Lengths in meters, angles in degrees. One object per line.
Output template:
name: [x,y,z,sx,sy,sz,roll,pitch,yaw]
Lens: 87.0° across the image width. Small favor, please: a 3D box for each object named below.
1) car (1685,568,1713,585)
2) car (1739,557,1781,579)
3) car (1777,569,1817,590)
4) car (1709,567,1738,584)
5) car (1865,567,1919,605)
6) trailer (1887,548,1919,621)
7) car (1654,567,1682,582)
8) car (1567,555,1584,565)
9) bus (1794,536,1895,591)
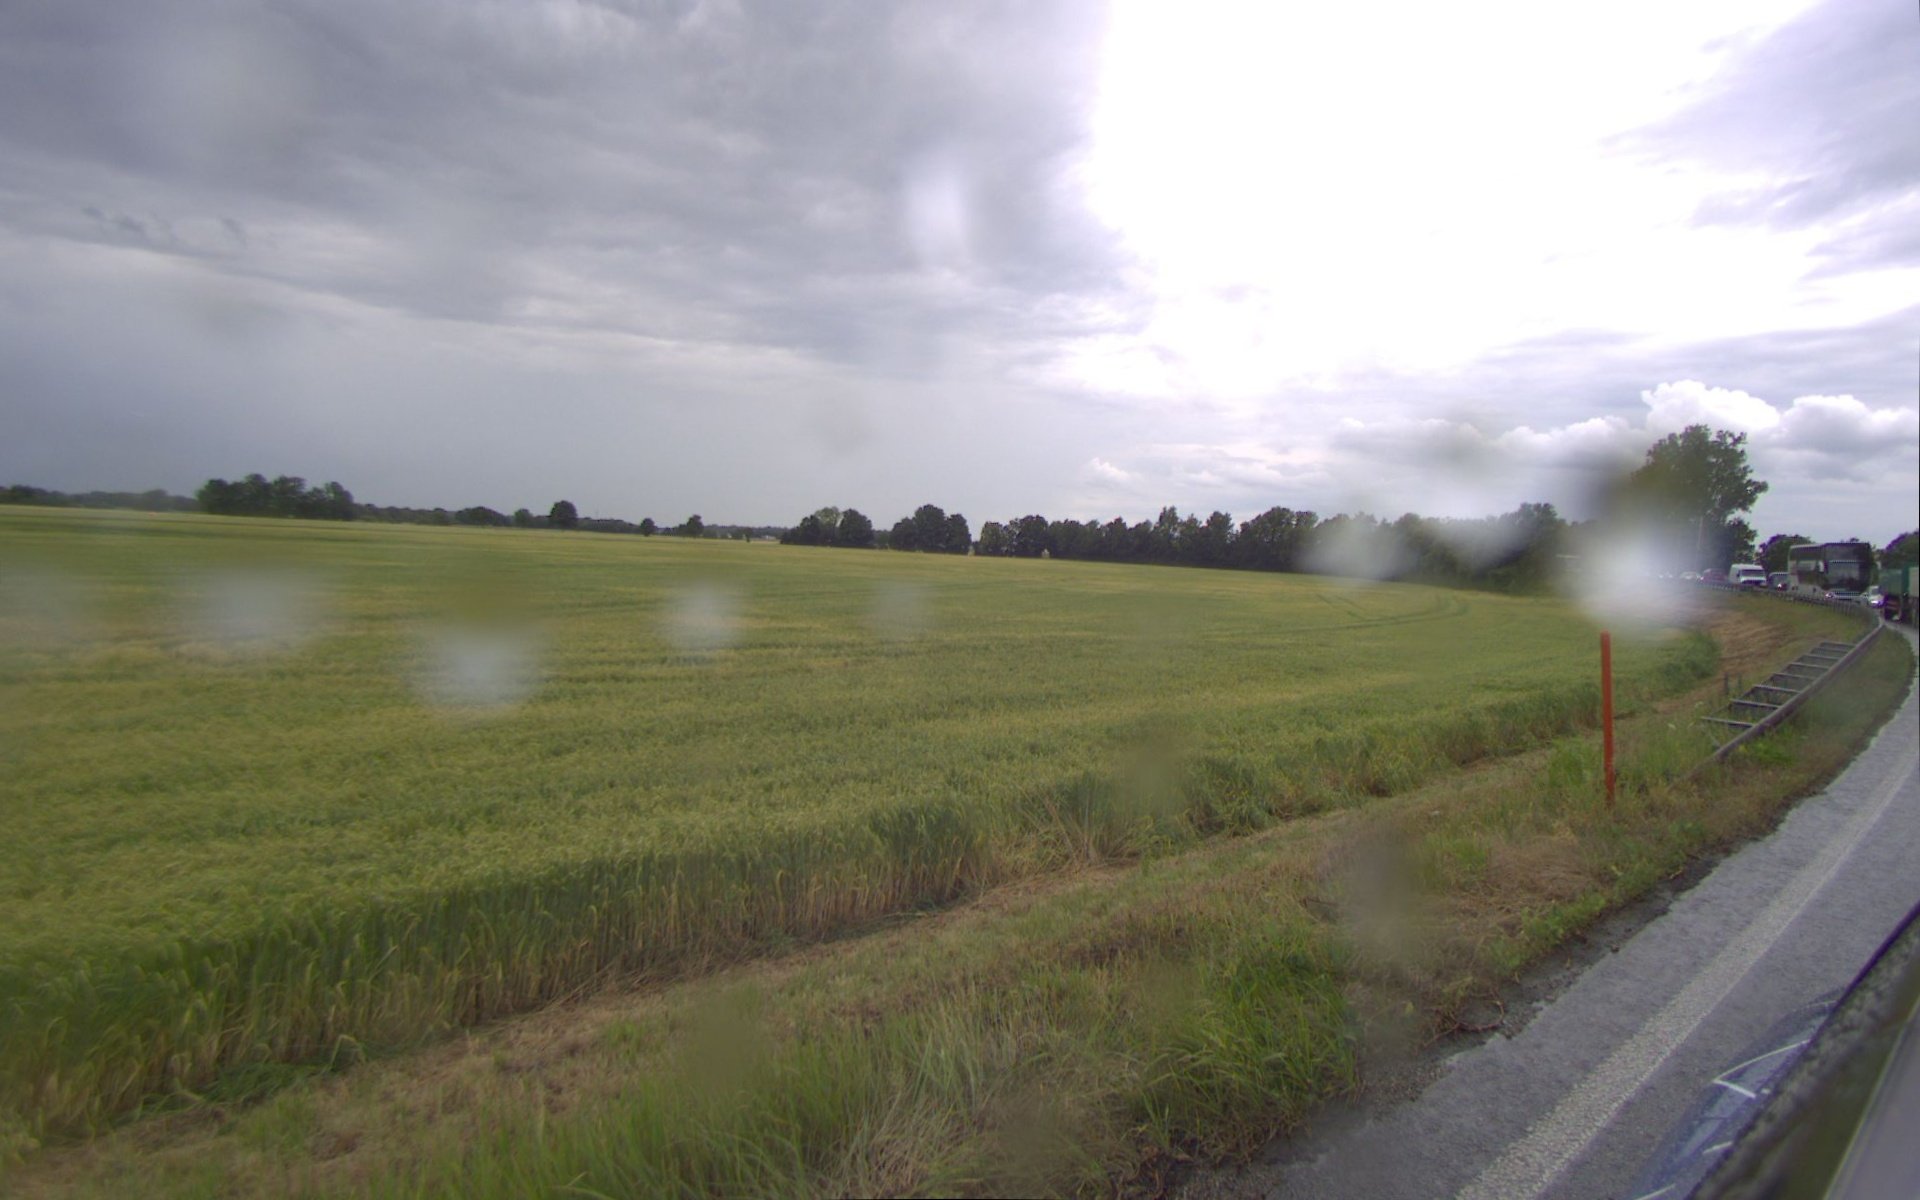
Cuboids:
car: [88.391,-2.787,121.107,1.980,2.038,4.195,0,1,26]
car: [76.069,-3.008,96.300,1.979,2.038,5.291,0,2,25]
car: [67.849,-1.686,82.087,1.800,1.597,3.958,0,2,30]
car: [94.296,-2.986,125.026,1.978,2.038,4.149,0,1,23]
car: [48.849,-0.752,52.536,2.029,1.865,5.271,0,2,34]
trailer: [39.136,-0.666,39.691,2.970,2.665,15.467,1,2,38]
car: [93.431,-3.359,133.637,1.975,2.038,4.239,0,1,20]
car: [115.929,-7.496,190.646,1.760,1.953,4.153,0,1,18]
bus: [59.519,-2.504,68.476,2.944,3.353,14.669,0,2,33]
